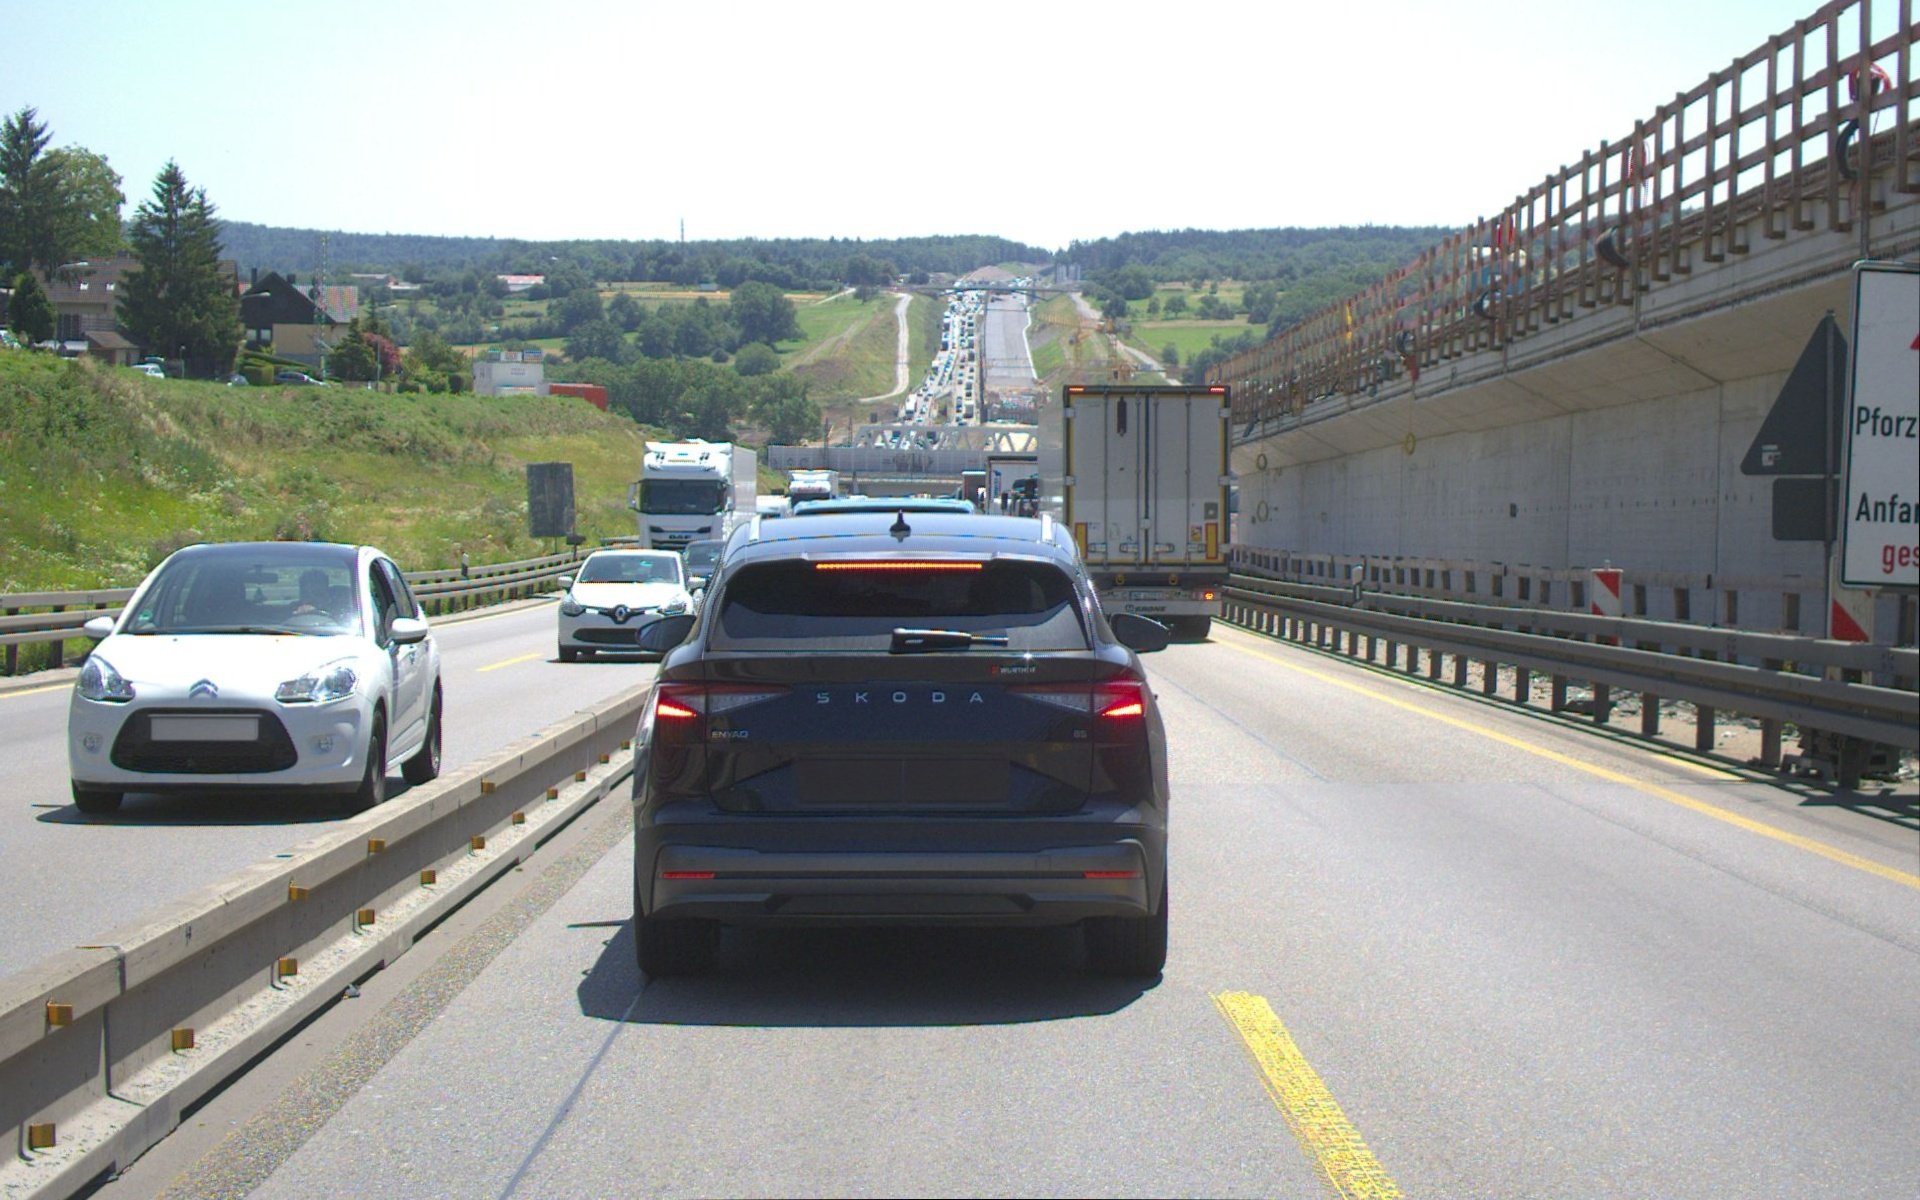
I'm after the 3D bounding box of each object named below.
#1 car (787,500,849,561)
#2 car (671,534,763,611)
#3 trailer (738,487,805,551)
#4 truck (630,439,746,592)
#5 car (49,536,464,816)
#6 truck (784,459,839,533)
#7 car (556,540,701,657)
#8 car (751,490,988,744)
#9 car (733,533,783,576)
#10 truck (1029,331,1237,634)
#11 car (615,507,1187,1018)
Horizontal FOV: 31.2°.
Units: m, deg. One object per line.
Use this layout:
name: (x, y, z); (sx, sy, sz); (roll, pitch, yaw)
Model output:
car: (-4.341, -2.130, 105.585); (1.775, 1.814, 4.434); (1, 1, -1)
car: (-5.055, -0.596, 71.983); (1.700, 1.555, 4.104); (0, 1, -1)
trailer: (-8.061, -3.438, 147.827); (2.485, 2.604, 5.867); (-1, 0, 0)
truck: (-7.820, -2.382, 99.419); (3.180, 4.223, 6.486); (1, 0, -4)
car: (-4.027, 0.374, 20.249); (1.766, 1.481, 3.866); (0, 1, -2)
truck: (-8.701, -6.071, 201.920); (2.753, 4.212, 8.100); (1, 1, 0)
car: (-4.363, -0.051, 45.658); (1.691, 1.481, 3.750); (0, 1, -2)
car: (-0.791, 0.106, 28.557); (1.749, 1.889, 3.756); (3, 1, -3)
car: (-8.218, -1.843, 139.969); (1.747, 1.579, 4.000); (4, 0, -1)
truck: (2.784, -1.822, 58.830); (2.846, 4.599, 11.811); (1, 0, 0)
car: (-0.235, 0.486, 12.667); (1.782, 1.592, 3.755); (0, 1, -2)
